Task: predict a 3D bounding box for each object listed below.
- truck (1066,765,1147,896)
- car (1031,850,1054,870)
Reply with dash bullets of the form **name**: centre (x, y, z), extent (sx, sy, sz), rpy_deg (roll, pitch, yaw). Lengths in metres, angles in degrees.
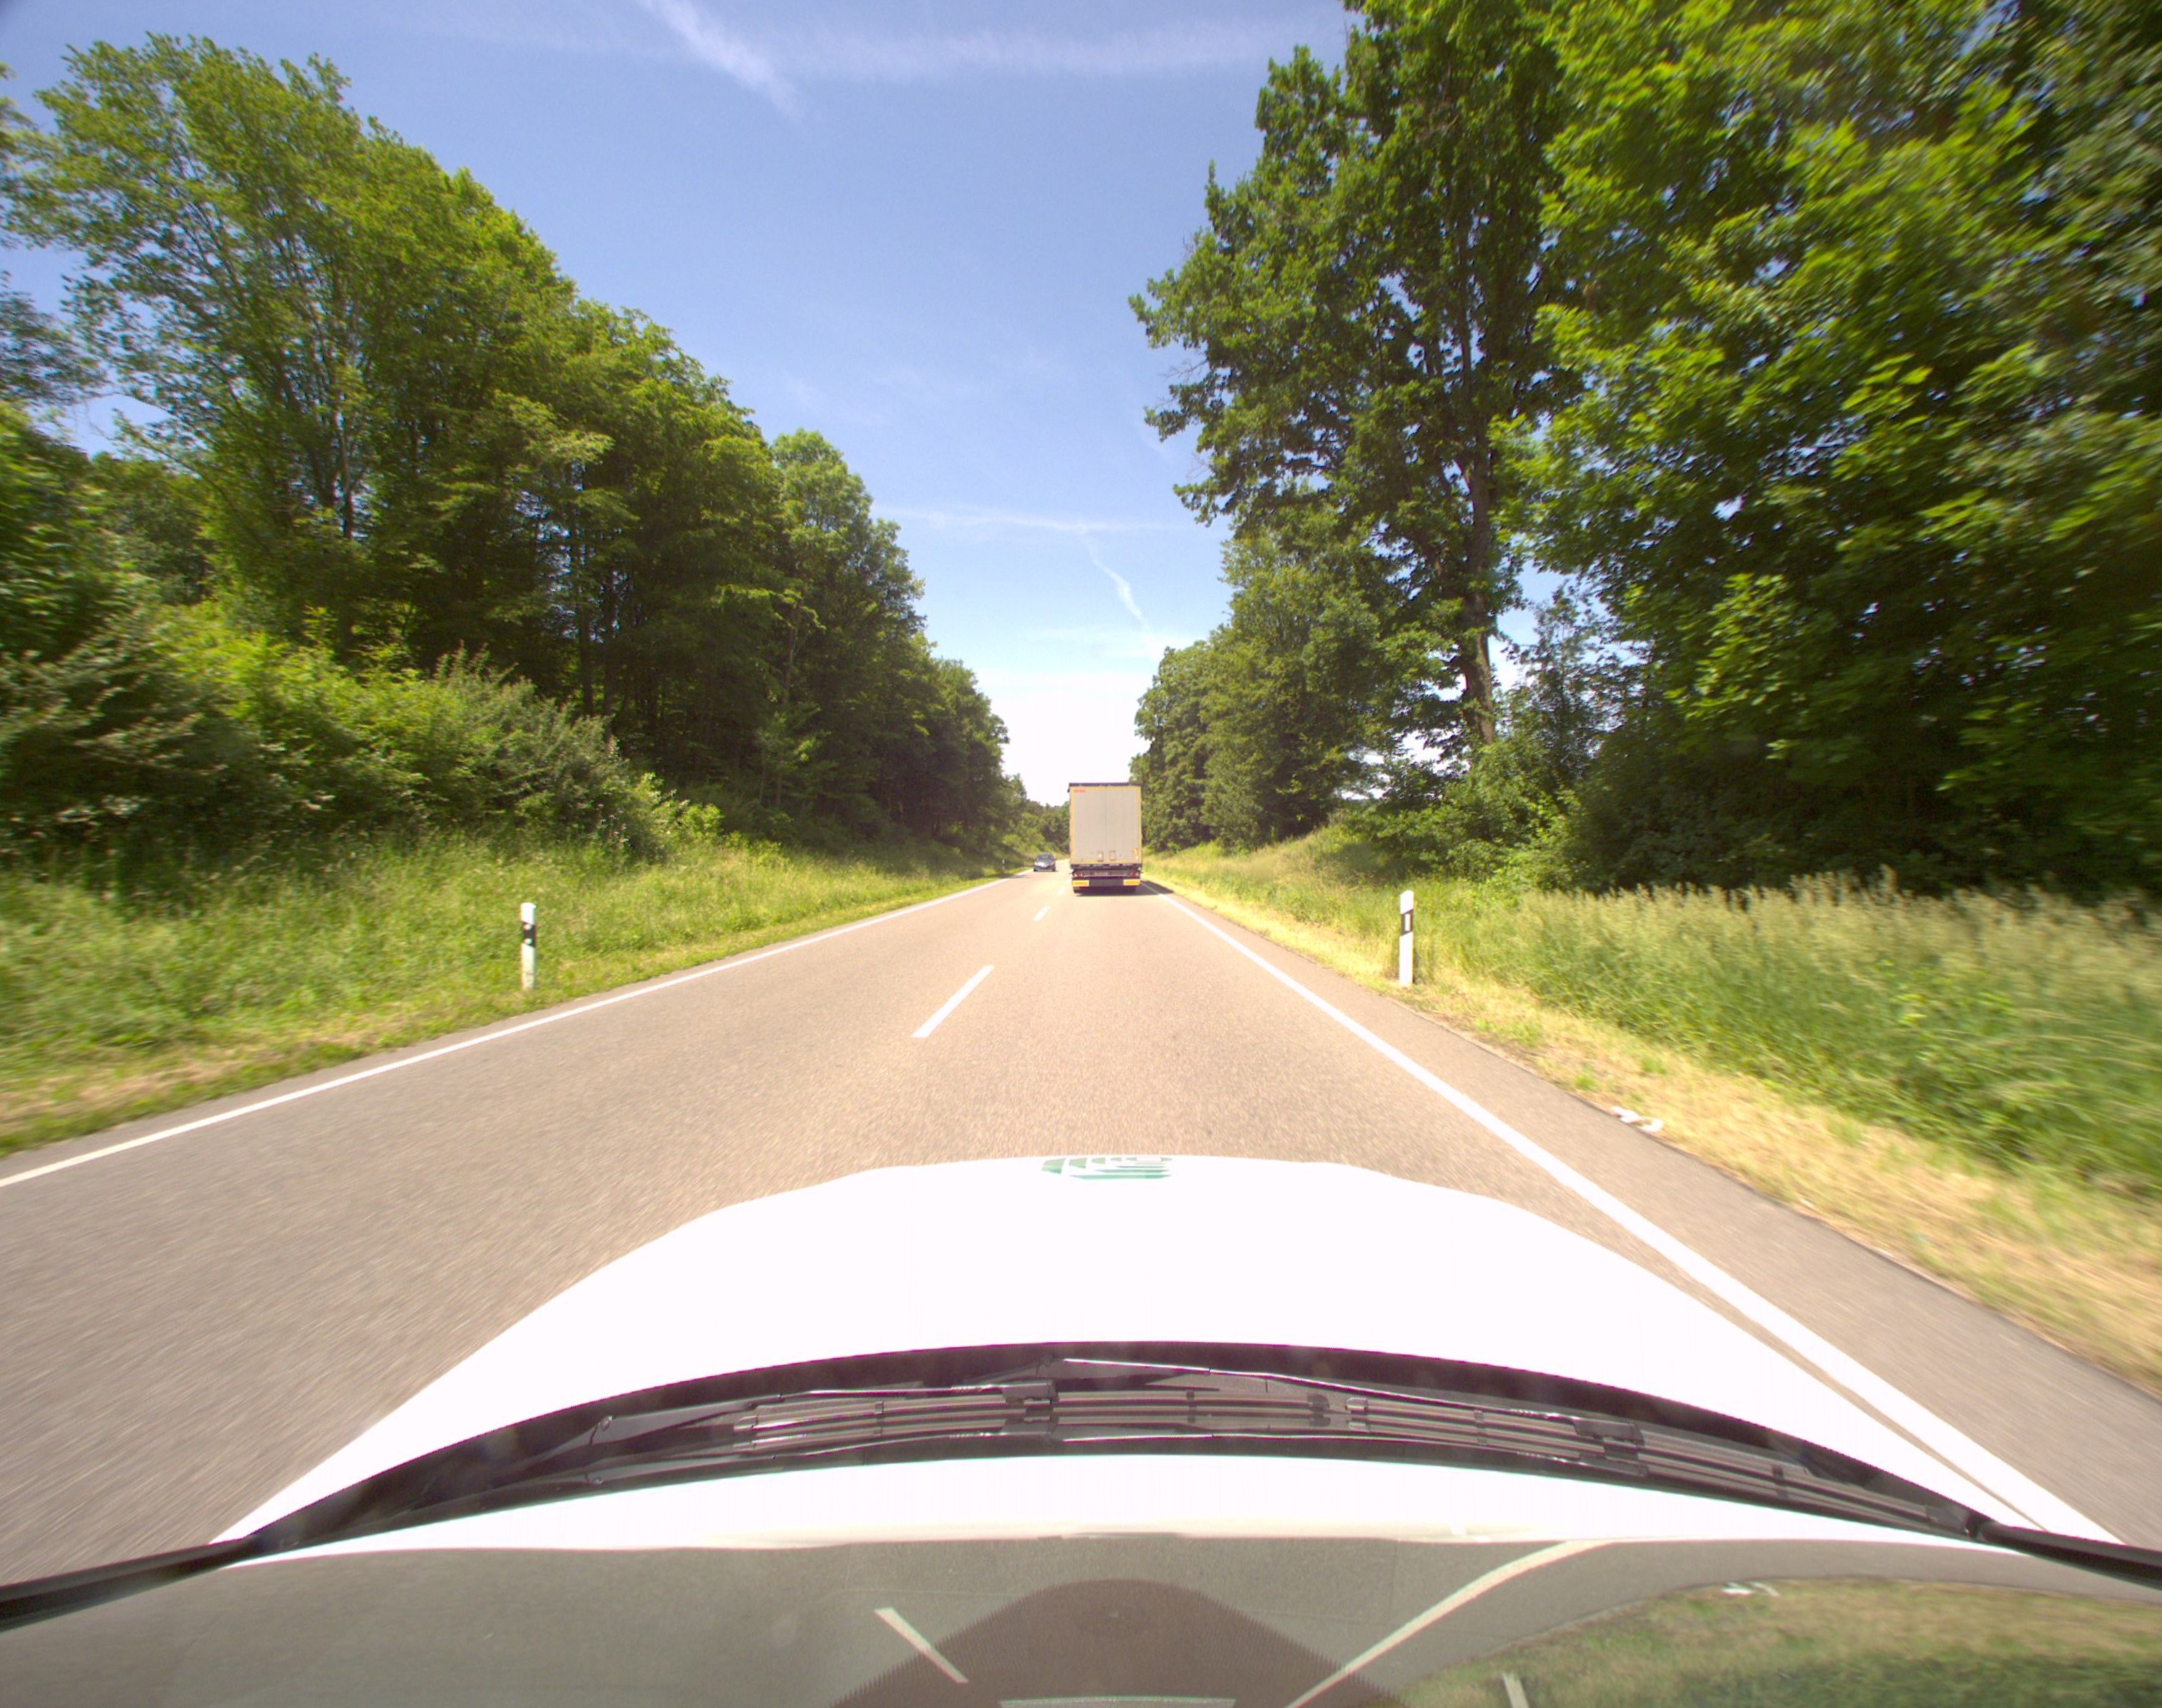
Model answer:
- **truck**: centre (0.907, -0.832, 34.222), extent (2.808, 4.532, 11.766), rpy_deg (-1, 0, 0)
- **car**: centre (-3.217, 0.493, 68.883), extent (1.767, 1.570, 4.215), rpy_deg (-1, 0, -1)
